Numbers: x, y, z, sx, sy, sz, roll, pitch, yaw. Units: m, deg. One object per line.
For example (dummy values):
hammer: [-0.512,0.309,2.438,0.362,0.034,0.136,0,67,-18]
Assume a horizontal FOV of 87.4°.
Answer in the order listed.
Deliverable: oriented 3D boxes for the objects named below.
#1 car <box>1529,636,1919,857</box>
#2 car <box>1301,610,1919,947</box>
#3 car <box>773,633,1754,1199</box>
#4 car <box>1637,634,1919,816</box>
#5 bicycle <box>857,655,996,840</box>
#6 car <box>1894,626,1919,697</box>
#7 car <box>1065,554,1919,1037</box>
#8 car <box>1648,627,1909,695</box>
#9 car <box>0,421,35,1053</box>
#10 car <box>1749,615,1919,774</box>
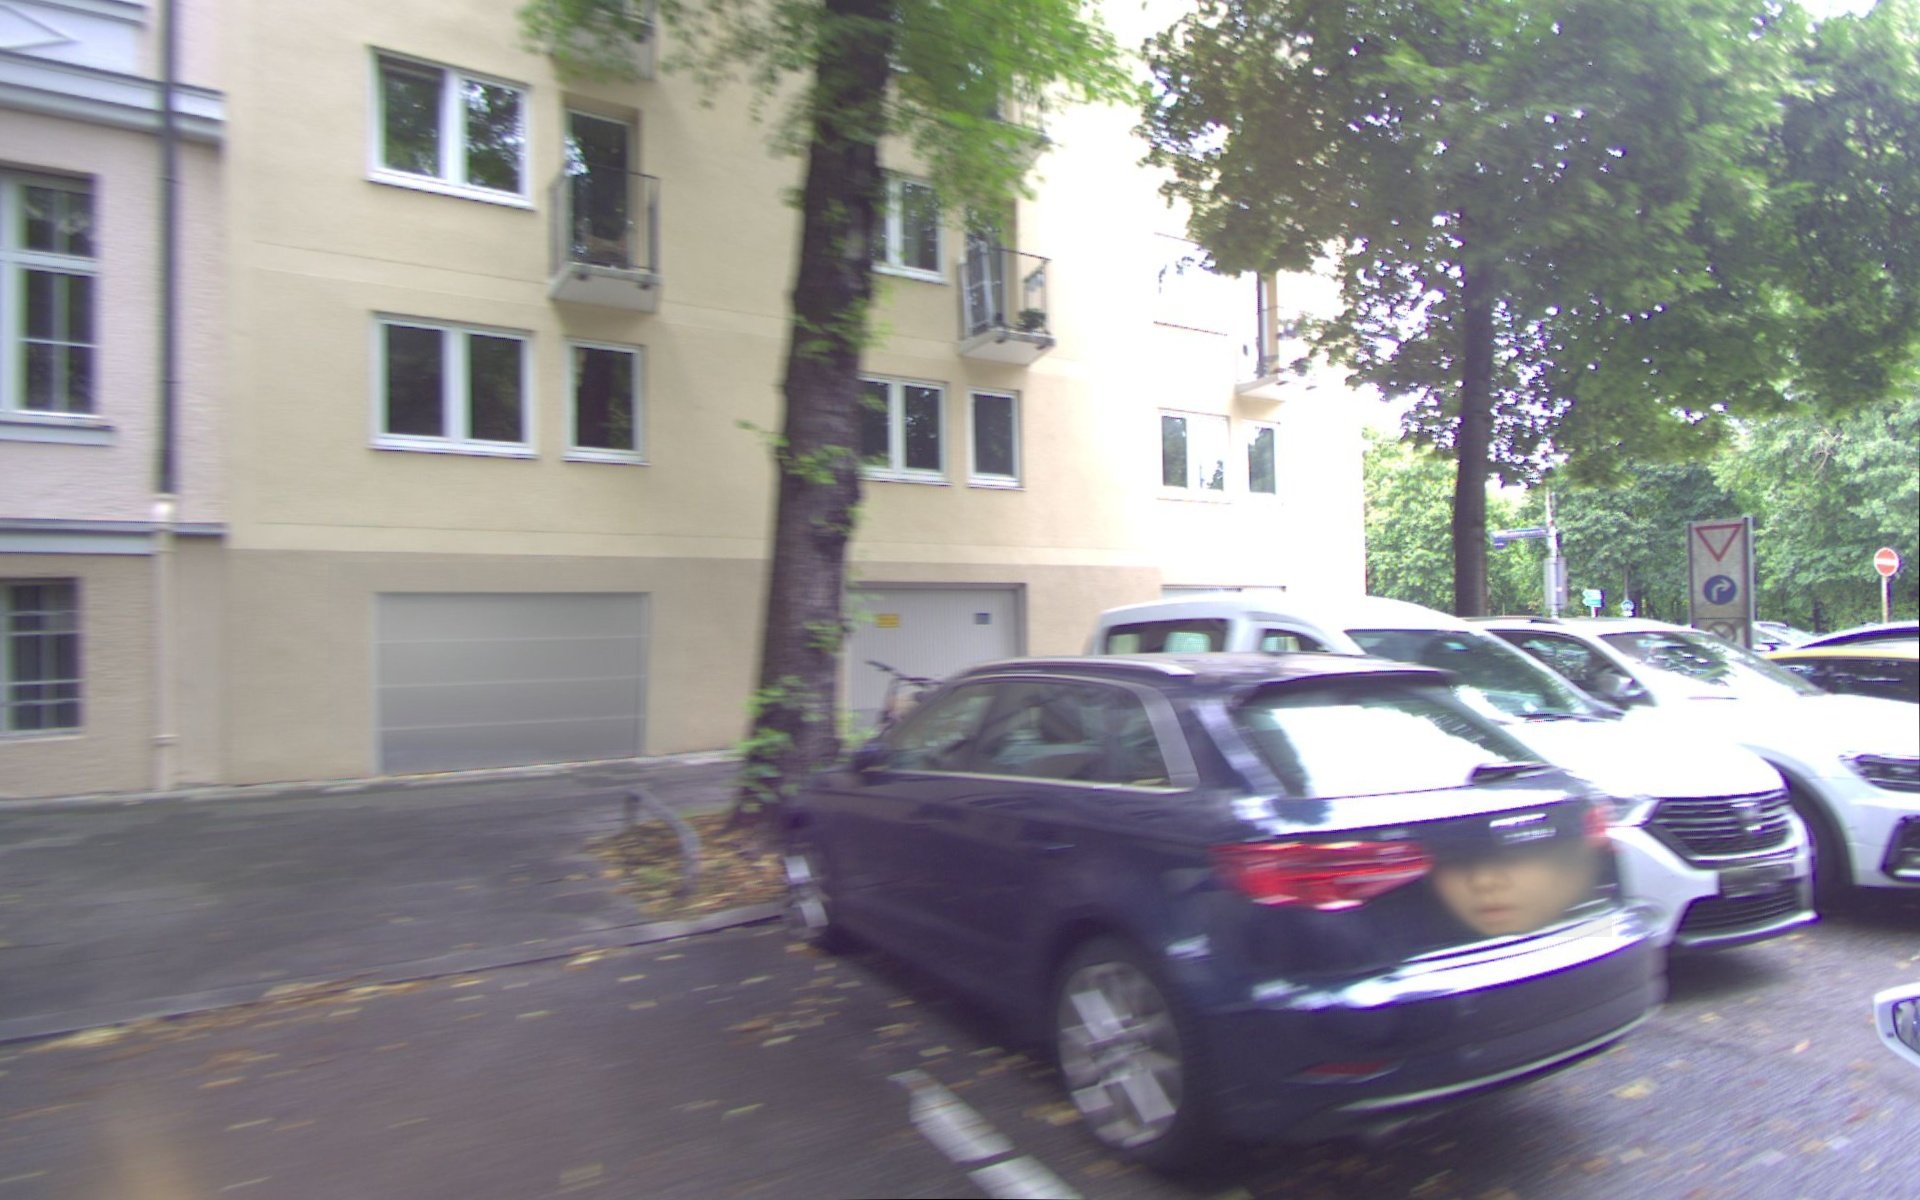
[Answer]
car: [6.804,1.023,7.737,1.719,1.459,3.863,0,-3,-29]
car: [4.659,0.924,7.027,1.809,1.617,4.439,0,-2,-23]
car: [0.637,0.924,4.309,1.714,1.452,3.972,0,-3,-28]
car: [8.633,1.054,8.922,1.714,1.483,3.972,-1,-3,-28]
bicycle: [-0.310,1.076,7.895,0.482,1.252,1.675,0,-2,-24]
car: [20.315,1.135,18.413,1.743,1.398,4.343,0,-3,-20]
car: [2.529,0.821,6.020,1.823,1.754,4.302,0,-3,-25]
car: [18.528,1.363,23.018,1.743,1.398,4.343,0,-3,-20]
car: [-4.482,0.407,1.609,1.868,2.408,4.583,-1,-3,-3]
car: [11.027,0.954,10.374,1.714,1.622,4.146,-2,-2,-28]
